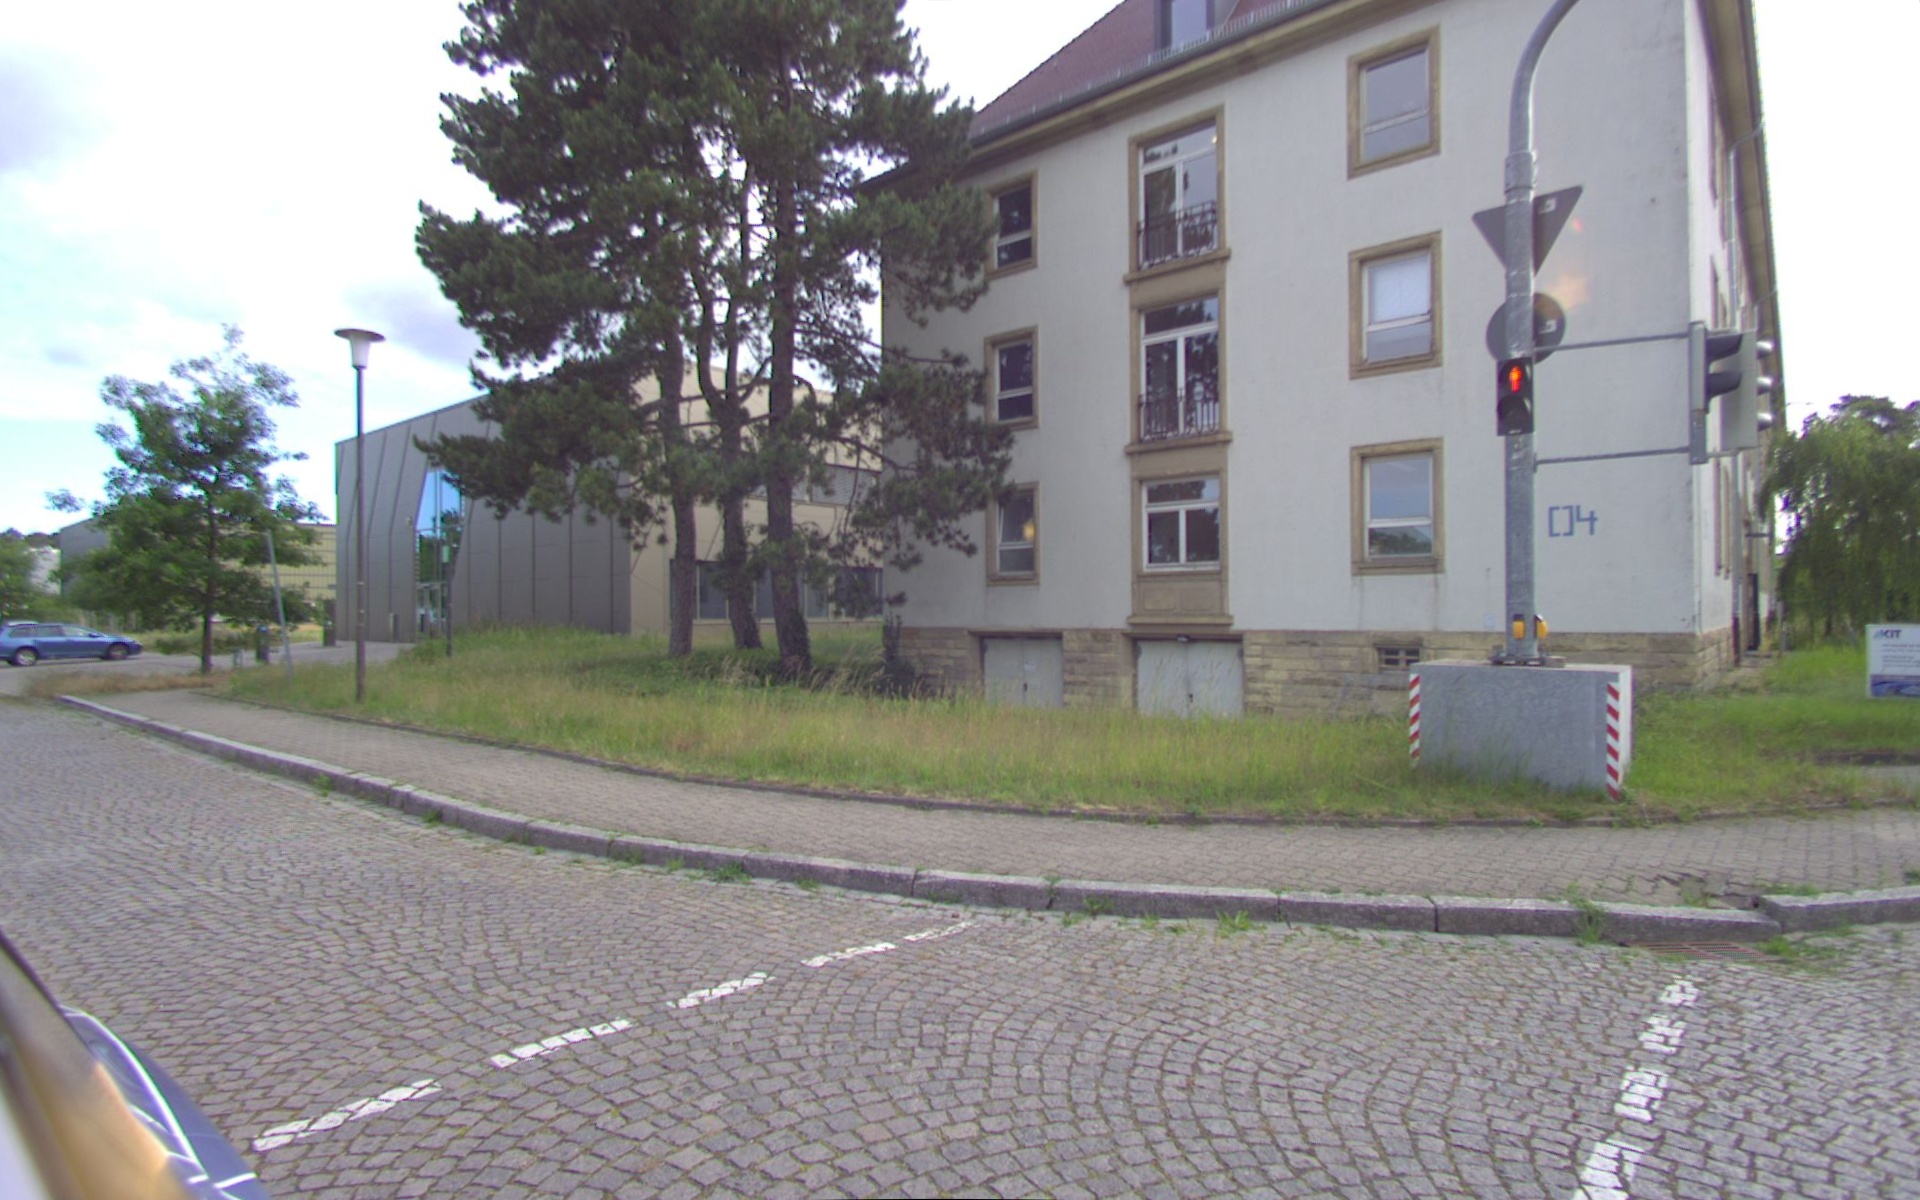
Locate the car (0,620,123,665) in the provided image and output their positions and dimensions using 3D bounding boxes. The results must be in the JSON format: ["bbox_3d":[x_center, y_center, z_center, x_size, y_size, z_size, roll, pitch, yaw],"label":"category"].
[{"bbox_3d":[-37.893,1.724,42.318,1.836,1.598,4.143,-1,1,37],"label":"car"}]

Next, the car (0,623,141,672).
[{"bbox_3d":[-32.804,1.700,36.818,1.836,1.474,4.362,-1,1,37],"label":"car"}]
